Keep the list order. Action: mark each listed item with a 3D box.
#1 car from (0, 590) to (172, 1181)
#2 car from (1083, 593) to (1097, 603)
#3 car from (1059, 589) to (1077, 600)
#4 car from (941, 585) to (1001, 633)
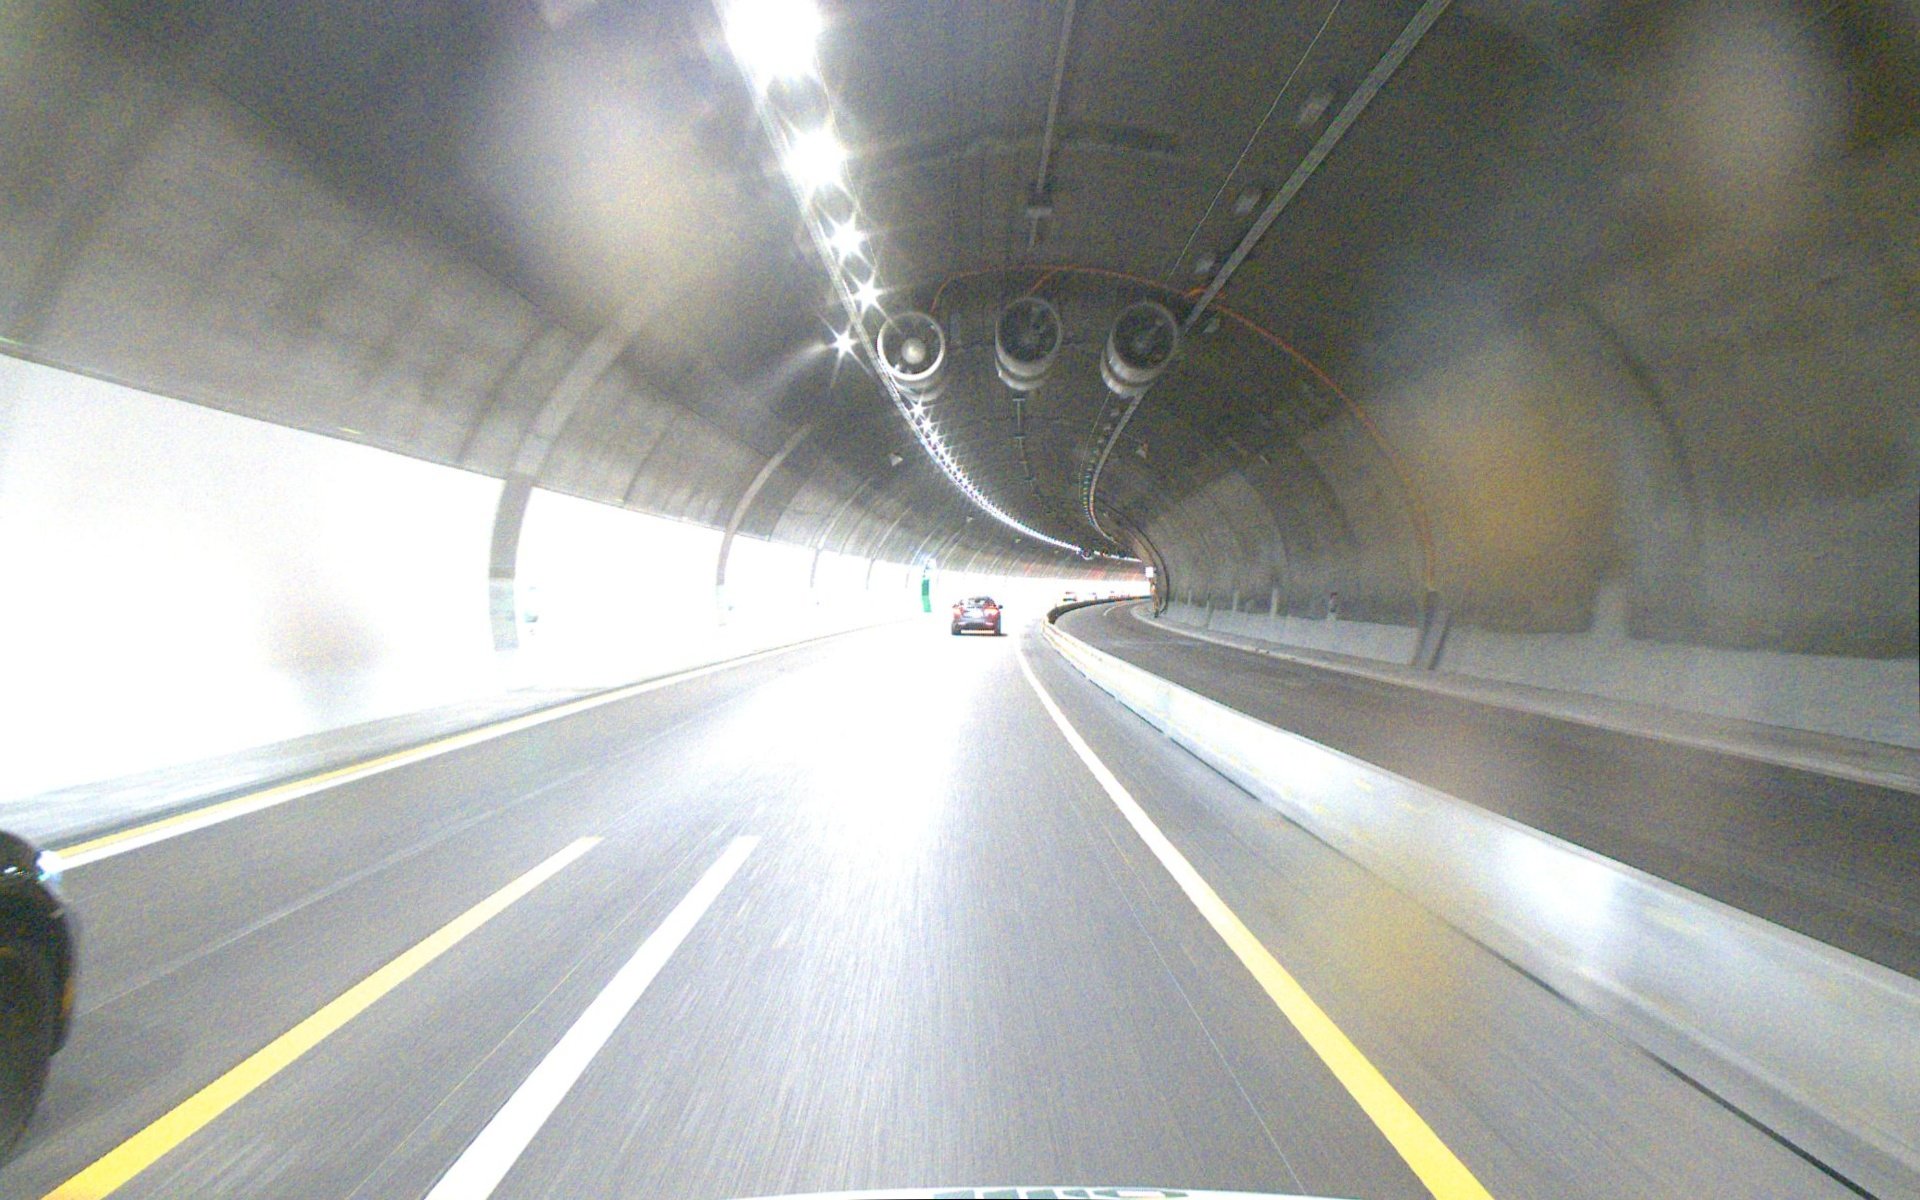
[{"bbox_3d":[-3.217,0.718,2.565,1.742,1.463,4.881,1,0,-1],"label":"car"},{"bbox_3d":[18.035,-0.331,228.596,1.561,1.356,3.754,0,0,10],"label":"car"},{"bbox_3d":[15.419,-0.737,235.338,2.118,1.512,4.004,0,1,10],"label":"car"},{"bbox_3d":[0.454,0.315,62.032,2.096,1.735,4.002,0,0,3],"label":"car"}]
